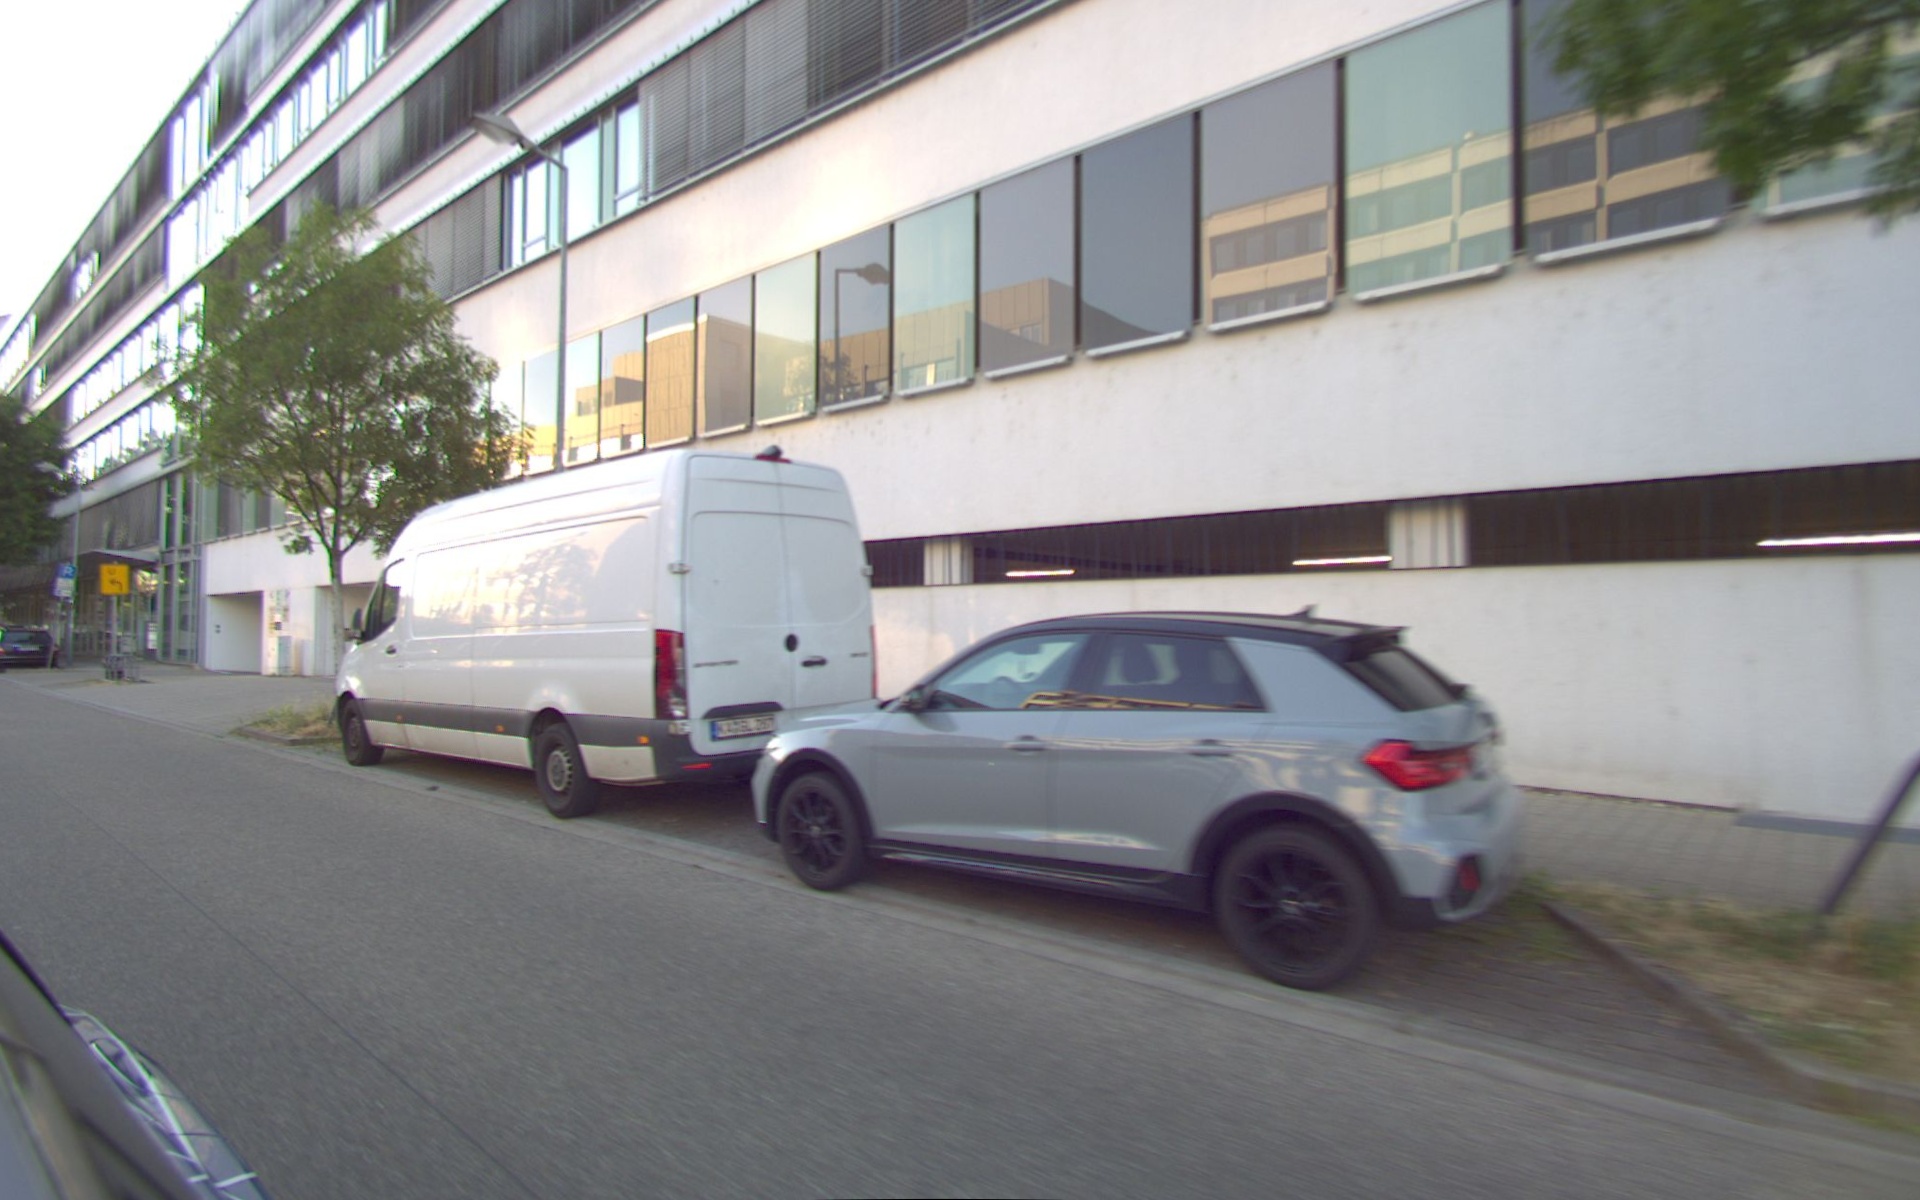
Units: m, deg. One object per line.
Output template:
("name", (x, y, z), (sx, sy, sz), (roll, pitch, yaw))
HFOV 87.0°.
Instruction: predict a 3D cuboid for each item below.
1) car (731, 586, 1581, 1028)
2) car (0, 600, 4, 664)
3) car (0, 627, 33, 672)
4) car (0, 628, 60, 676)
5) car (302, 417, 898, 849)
("car", (0.814, 0.739, 5.193), (3.893, 1.450, 1.740), (-3, -1, 36))
("car", (-43.357, 1.444, 43.862), (6.947, 2.684, 2.078), (-3, -3, 41))
("car", (-35.355, 1.795, 36.884), (4.265, 1.583, 1.825), (-3, -3, 41))
("car", (-31.253, 1.697, 33.202), (4.391, 1.463, 1.699), (-2, -3, 37))
("car", (-3.724, 0.306, 9.184), (6.889, 2.637, 1.938), (-3, -1, 41))
